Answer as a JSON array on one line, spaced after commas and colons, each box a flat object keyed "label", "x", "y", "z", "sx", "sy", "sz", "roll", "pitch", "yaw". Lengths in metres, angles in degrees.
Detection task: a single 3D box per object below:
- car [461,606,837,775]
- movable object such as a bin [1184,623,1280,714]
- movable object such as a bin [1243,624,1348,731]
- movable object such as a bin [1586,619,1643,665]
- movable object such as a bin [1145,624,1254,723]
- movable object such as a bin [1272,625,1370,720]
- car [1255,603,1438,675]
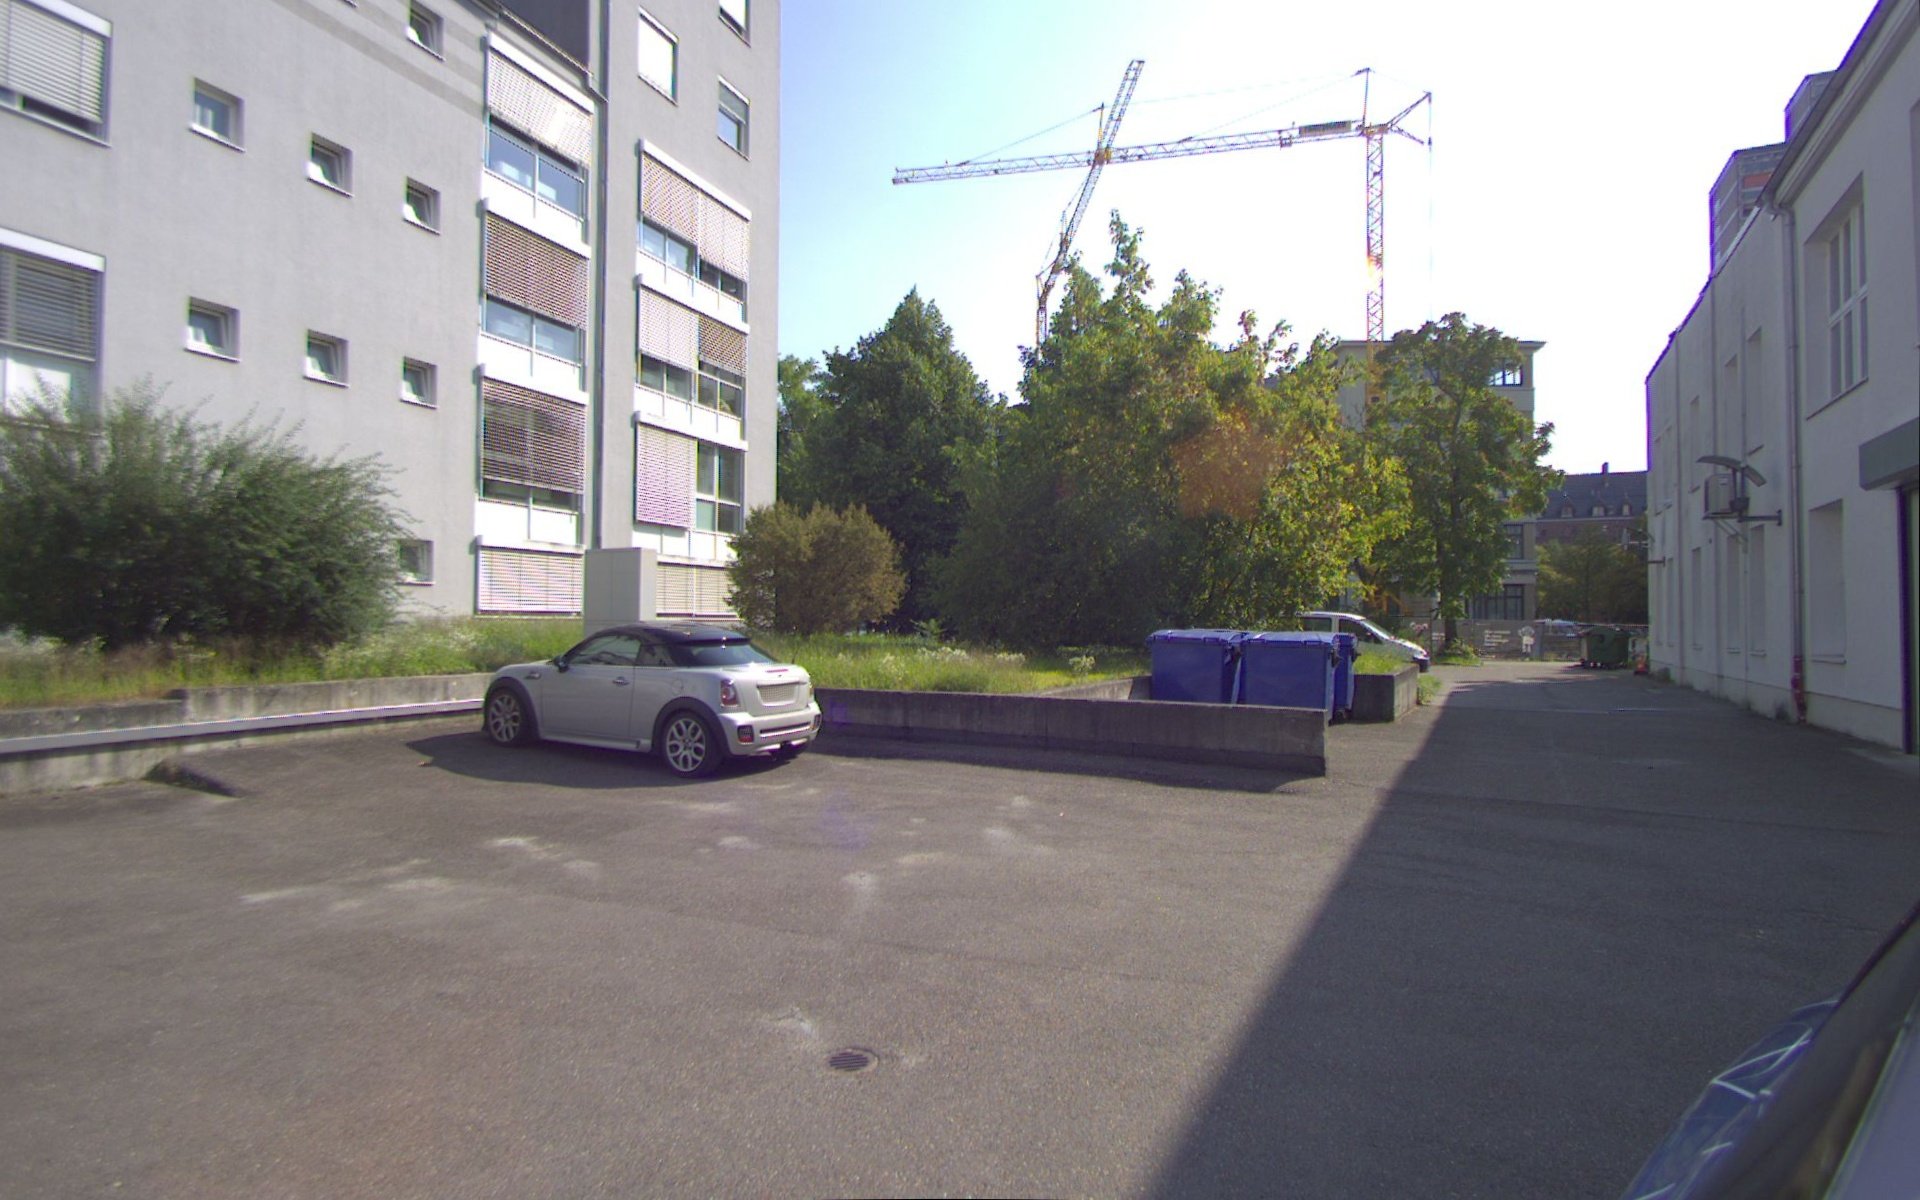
[{"label": "car", "x": -3.205, "y": 0.816, "z": 10.408, "sx": 3.546, "sy": 1.456, "sz": 1.643, "roll": 0, "pitch": -2, "yaw": 26}, {"label": "movable object such as a bin", "x": 4.282, "y": 1.039, "z": 15.901, "sx": 1.190, "sy": 1.345, "sz": 1.261, "roll": -1, "pitch": -2, "yaw": 30}, {"label": "movable object such as a bin", "x": 4.618, "y": 1.022, "z": 13.887, "sx": 1.203, "sy": 1.369, "sz": 1.263, "roll": -1, "pitch": -2, "yaw": 27}, {"label": "movable object such as a bin", "x": 22.026, "y": 1.394, "z": 34.089, "sx": 1.512, "sy": 1.485, "sz": 1.261, "roll": -1, "pitch": -2, "yaw": 30}, {"label": "movable object such as a bin", "x": 3.472, "y": 1.018, "z": 14.611, "sx": 1.247, "sy": 1.345, "sz": 1.261, "roll": -1, "pitch": -2, "yaw": 30}, {"label": "movable object such as a bin", "x": 5.446, "y": 1.046, "z": 15.231, "sx": 1.190, "sy": 1.345, "sz": 1.261, "roll": -1, "pitch": -2, "yaw": 30}, {"label": "car", "x": 11.237, "y": 1.080, "z": 29.501, "sx": 4.755, "sy": 1.956, "sz": 1.887, "roll": 0, "pitch": -2, "yaw": 32}]
